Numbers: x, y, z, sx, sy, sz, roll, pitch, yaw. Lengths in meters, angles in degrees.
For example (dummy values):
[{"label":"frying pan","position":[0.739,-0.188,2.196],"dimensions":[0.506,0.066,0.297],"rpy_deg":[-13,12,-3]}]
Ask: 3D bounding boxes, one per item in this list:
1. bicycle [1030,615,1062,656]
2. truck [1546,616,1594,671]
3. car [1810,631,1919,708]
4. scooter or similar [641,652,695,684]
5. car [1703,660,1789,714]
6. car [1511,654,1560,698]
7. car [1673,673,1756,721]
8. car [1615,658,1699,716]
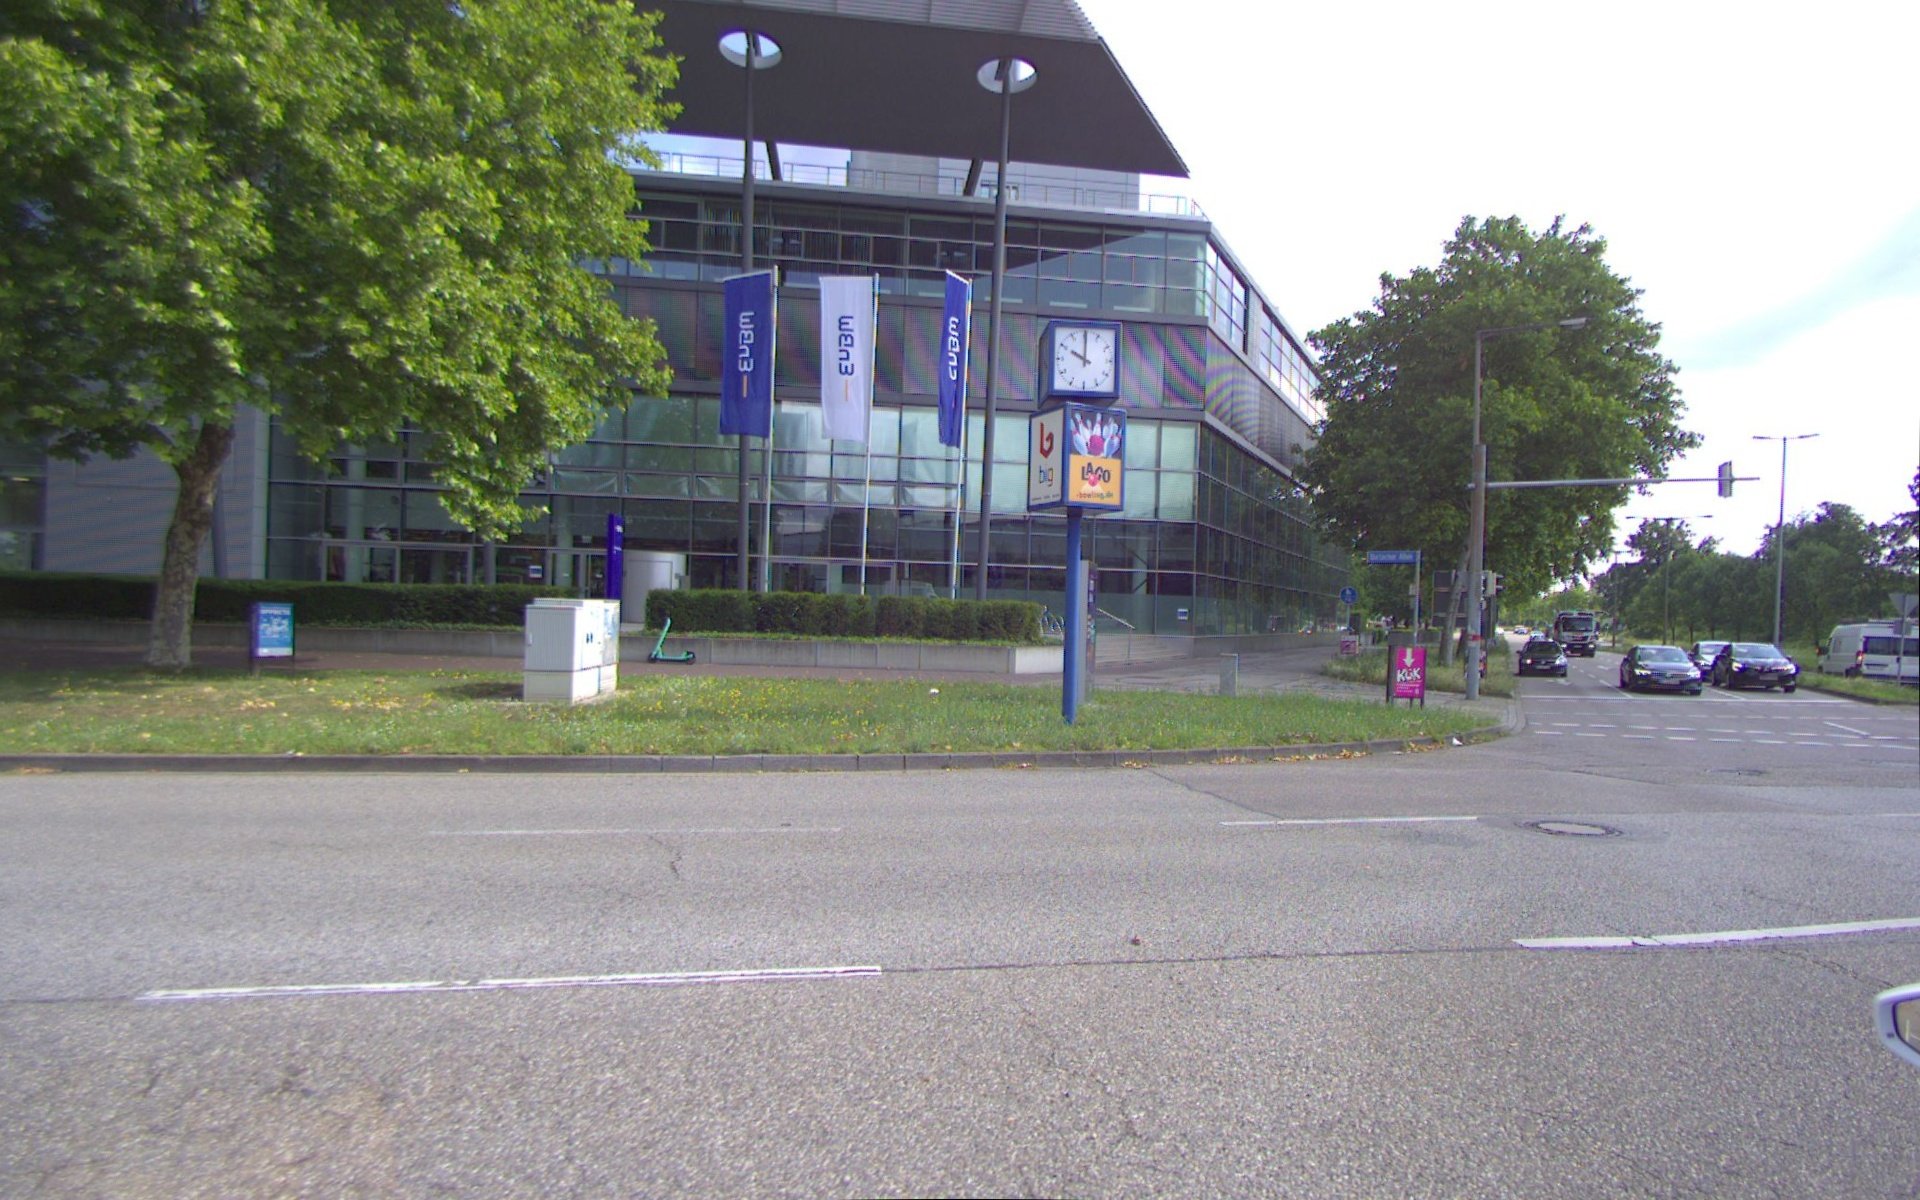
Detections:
[{"label":"bicycle","position":[3.084,1.291,36.086],"dimensions":[0.728,1.402,2.138],"rpy_deg":[2,-3,-7]},{"label":"truck","position":[47.951,3.381,79.128],"dimensions":[2.610,3.939,10.144],"rpy_deg":[2,-1,29]},{"label":"car","position":[35.124,2.624,39.028],"dimensions":[2.164,2.762,4.925],"rpy_deg":[0,-2,28]},{"label":"scooter or similar","position":[-6.974,1.623,24.003],"dimensions":[1.207,0.722,0.241],"rpy_deg":[1,-3,-2]},{"label":"car","position":[26.813,2.918,34.397],"dimensions":[1.683,1.608,4.354],"rpy_deg":[-1,-2,30]},{"label":"car","position":[24.424,3.181,42.723],"dimensions":[1.703,1.592,3.994],"rpy_deg":[2,-1,29]},{"label":"car","position":[29.733,3.776,39.708],"dimensions":[1.963,1.750,3.996],"rpy_deg":[0,-4,28]},{"label":"car","position":[22.360,2.744,32.373],"dimensions":[1.838,1.595,4.560],"rpy_deg":[0,-2,30]}]
